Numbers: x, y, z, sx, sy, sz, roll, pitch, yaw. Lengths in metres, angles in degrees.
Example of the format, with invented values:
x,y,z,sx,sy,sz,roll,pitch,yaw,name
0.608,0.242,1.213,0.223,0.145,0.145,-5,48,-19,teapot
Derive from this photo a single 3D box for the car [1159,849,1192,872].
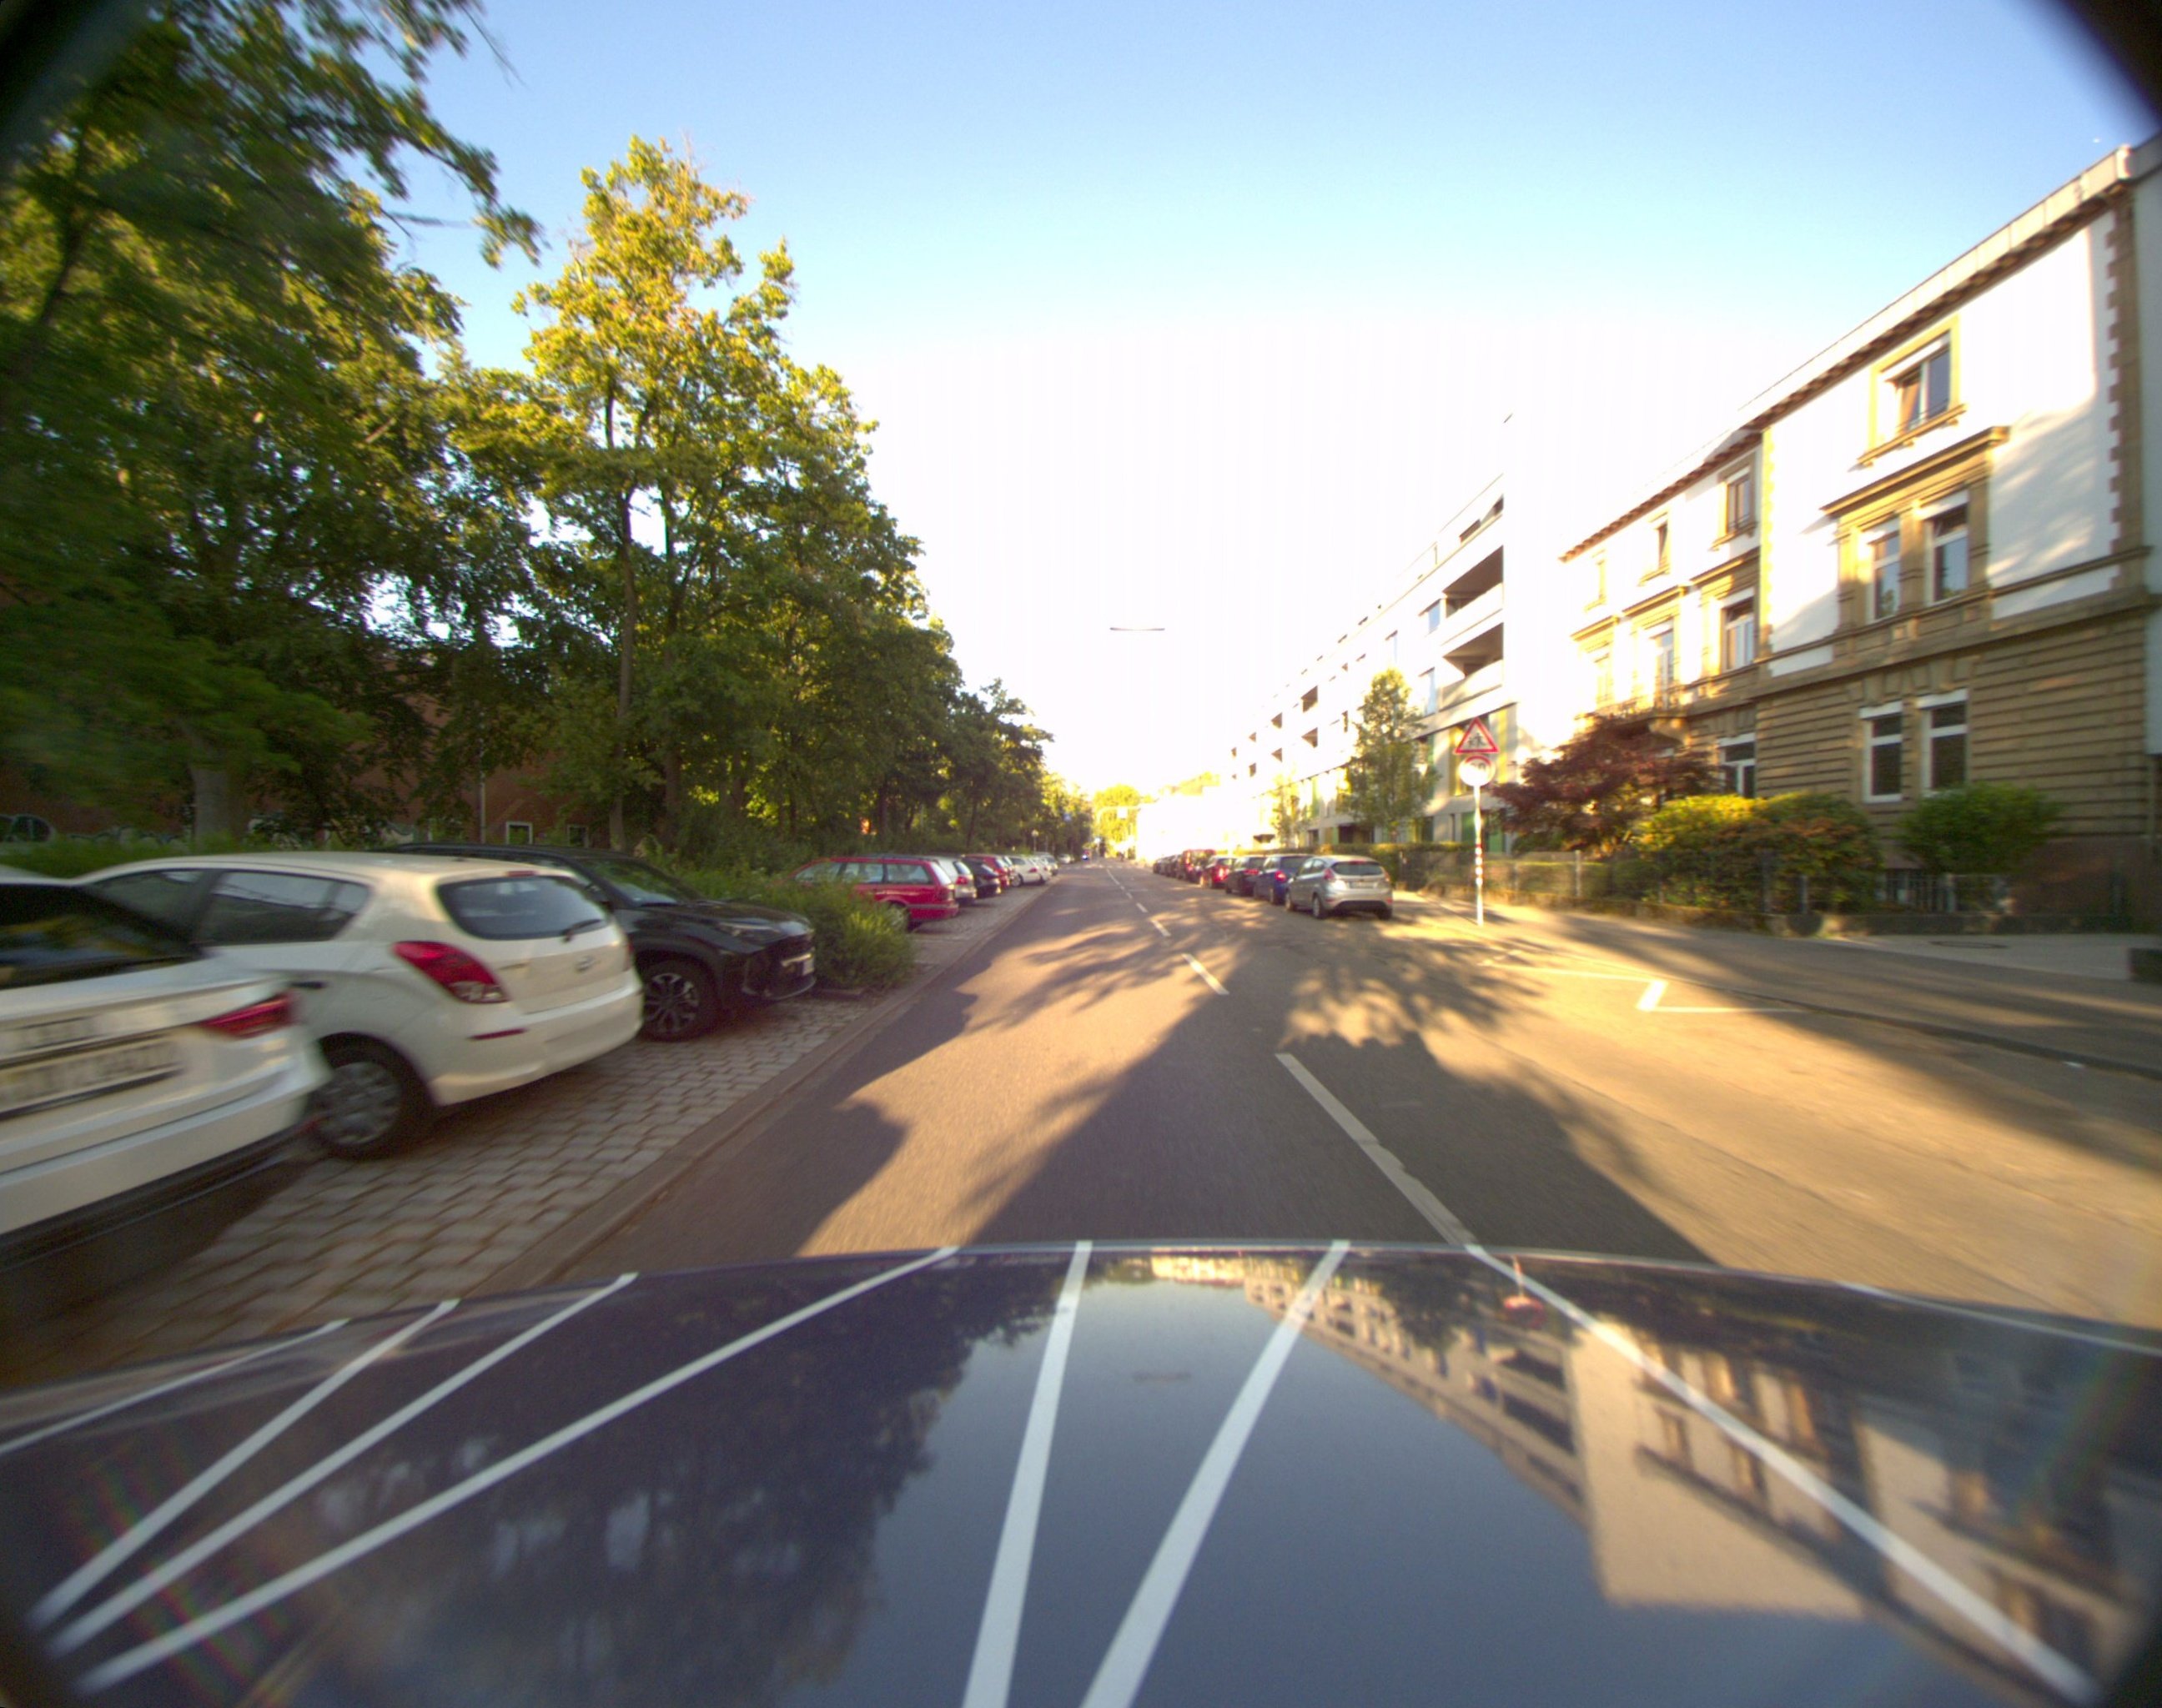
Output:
x,y,z,sx,sy,sz,roll,pitch,yaw,name
6.748,0.454,54.750,1.746,1.525,4.115,-1,0,-1,car

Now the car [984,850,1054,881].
x,y,z,sx,sy,sz,roll,pitch,yaw,name
-3.298,0.608,41.063,3.619,1.516,1.671,3,0,-1,car

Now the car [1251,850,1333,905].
x,y,z,sx,sy,sz,roll,pitch,yaw,name
6.309,0.663,23.099,1.602,1.499,3.788,1,0,3,car

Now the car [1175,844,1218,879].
x,y,z,sx,sy,sz,roll,pitch,yaw,name
6.564,0.404,43.669,1.812,1.878,4.238,1,0,0,car

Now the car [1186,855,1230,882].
x,y,z,sx,sy,sz,roll,pitch,yaw,name
6.419,0.715,38.657,1.560,1.272,3.732,1,0,0,car

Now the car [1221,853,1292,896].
x,y,z,sx,sy,sz,roll,pitch,yaw,name
6.295,0.687,27.704,1.602,1.447,4.054,1,0,0,car

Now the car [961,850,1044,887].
x,y,z,sx,sy,sz,roll,pitch,yaw,name
-3.668,0.673,36.032,3.676,1.543,1.735,3,0,-1,car

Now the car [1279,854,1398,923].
x,y,z,sx,sy,sz,roll,pitch,yaw,name
6.132,0.758,18.528,1.605,1.485,3.772,1,0,0,car

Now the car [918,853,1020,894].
x,y,z,sx,sy,sz,roll,pitch,yaw,name
-4.489,0.759,30.794,3.758,1.387,1.756,3,1,1,car

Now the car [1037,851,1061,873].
x,y,z,sx,sy,sz,roll,pitch,yaw,name
-2.418,0.592,57.031,1.655,1.558,4.299,0,0,-5,car

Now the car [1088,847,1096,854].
x,y,z,sx,sy,sz,roll,pitch,yaw,name
3.026,-0.932,212.986,2.228,2.002,4.890,-1,1,2,car

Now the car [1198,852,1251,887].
x,y,z,sx,sy,sz,roll,pitch,yaw,name
6.345,0.664,33.889,1.602,1.447,3.861,0,1,0,car

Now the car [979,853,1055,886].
x,y,z,sx,sy,sz,roll,pitch,yaw,name
-3.200,0.766,38.747,3.676,1.436,1.735,3,0,-1,car

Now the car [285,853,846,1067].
x,y,z,sx,sy,sz,roll,pitch,yaw,name
-4.245,0.815,6.747,3.754,1.585,1.696,-1,1,-1,car

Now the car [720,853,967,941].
x,y,z,sx,sy,sz,roll,pitch,yaw,name
-4.605,0.820,15.203,4.349,1.466,1.742,2,0,0,car

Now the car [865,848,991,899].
x,y,z,sx,sy,sz,roll,pitch,yaw,name
-5.079,0.628,25.576,3.816,1.466,1.831,3,1,1,car

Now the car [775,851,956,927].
x,y,z,sx,sy,sz,roll,pitch,yaw,name
-4.917,0.781,17.765,3.722,1.547,1.741,2,1,-3,car

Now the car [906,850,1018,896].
x,y,z,sx,sy,sz,roll,pitch,yaw,name
-4.368,0.696,28.241,3.816,1.466,1.756,3,0,1,car

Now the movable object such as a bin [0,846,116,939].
x,y,z,sx,sy,sz,roll,pitch,yaw,name
-16.630,0.588,12.224,0.964,1.430,0.984,0,1,4,movable object such as a bin

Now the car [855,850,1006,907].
x,y,z,sx,sy,sz,roll,pitch,yaw,name
-4.408,0.716,22.779,4.131,1.466,1.831,2,1,-1,car

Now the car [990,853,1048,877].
x,y,z,sx,sy,sz,roll,pitch,yaw,name
-4.035,0.689,50.064,3.636,1.531,1.671,0,0,1,car

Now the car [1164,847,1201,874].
x,y,z,sx,sy,sz,roll,pitch,yaw,name
6.480,0.391,49.028,1.746,1.666,4.416,-1,1,0,car

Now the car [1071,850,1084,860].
x,y,z,sx,sy,sz,roll,pitch,yaw,name
-0.476,0.138,119.982,1.752,1.478,4.509,0,0,3,car

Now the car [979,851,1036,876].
x,y,z,sx,sy,sz,roll,pitch,yaw,name
-4.558,0.572,47.560,3.393,1.517,1.671,0,1,1,car

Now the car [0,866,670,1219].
x,y,z,sx,sy,sz,roll,pitch,yaw,name
-4.707,0.899,4.415,3.598,1.557,1.818,-1,1,0,car

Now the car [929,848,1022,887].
x,y,z,sx,sy,sz,roll,pitch,yaw,name
-4.572,0.564,33.420,3.734,1.490,1.820,3,1,1,car

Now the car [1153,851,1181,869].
x,y,z,sx,sy,sz,roll,pitch,yaw,name
6.638,0.445,59.296,1.746,1.349,4.396,0,1,1,car

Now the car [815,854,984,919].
x,y,z,sx,sy,sz,roll,pitch,yaw,name
-4.673,0.822,19.966,3.933,1.445,1.832,2,1,2,car

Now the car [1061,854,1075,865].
x,y,z,sx,sy,sz,roll,pitch,yaw,name
-1.944,0.809,113.334,1.752,1.478,4.177,0,0,4,car

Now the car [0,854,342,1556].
x,y,z,sx,sy,sz,roll,pitch,yaw,name
-4.640,0.868,1.772,4.132,1.658,1.723,-1,1,1,car
